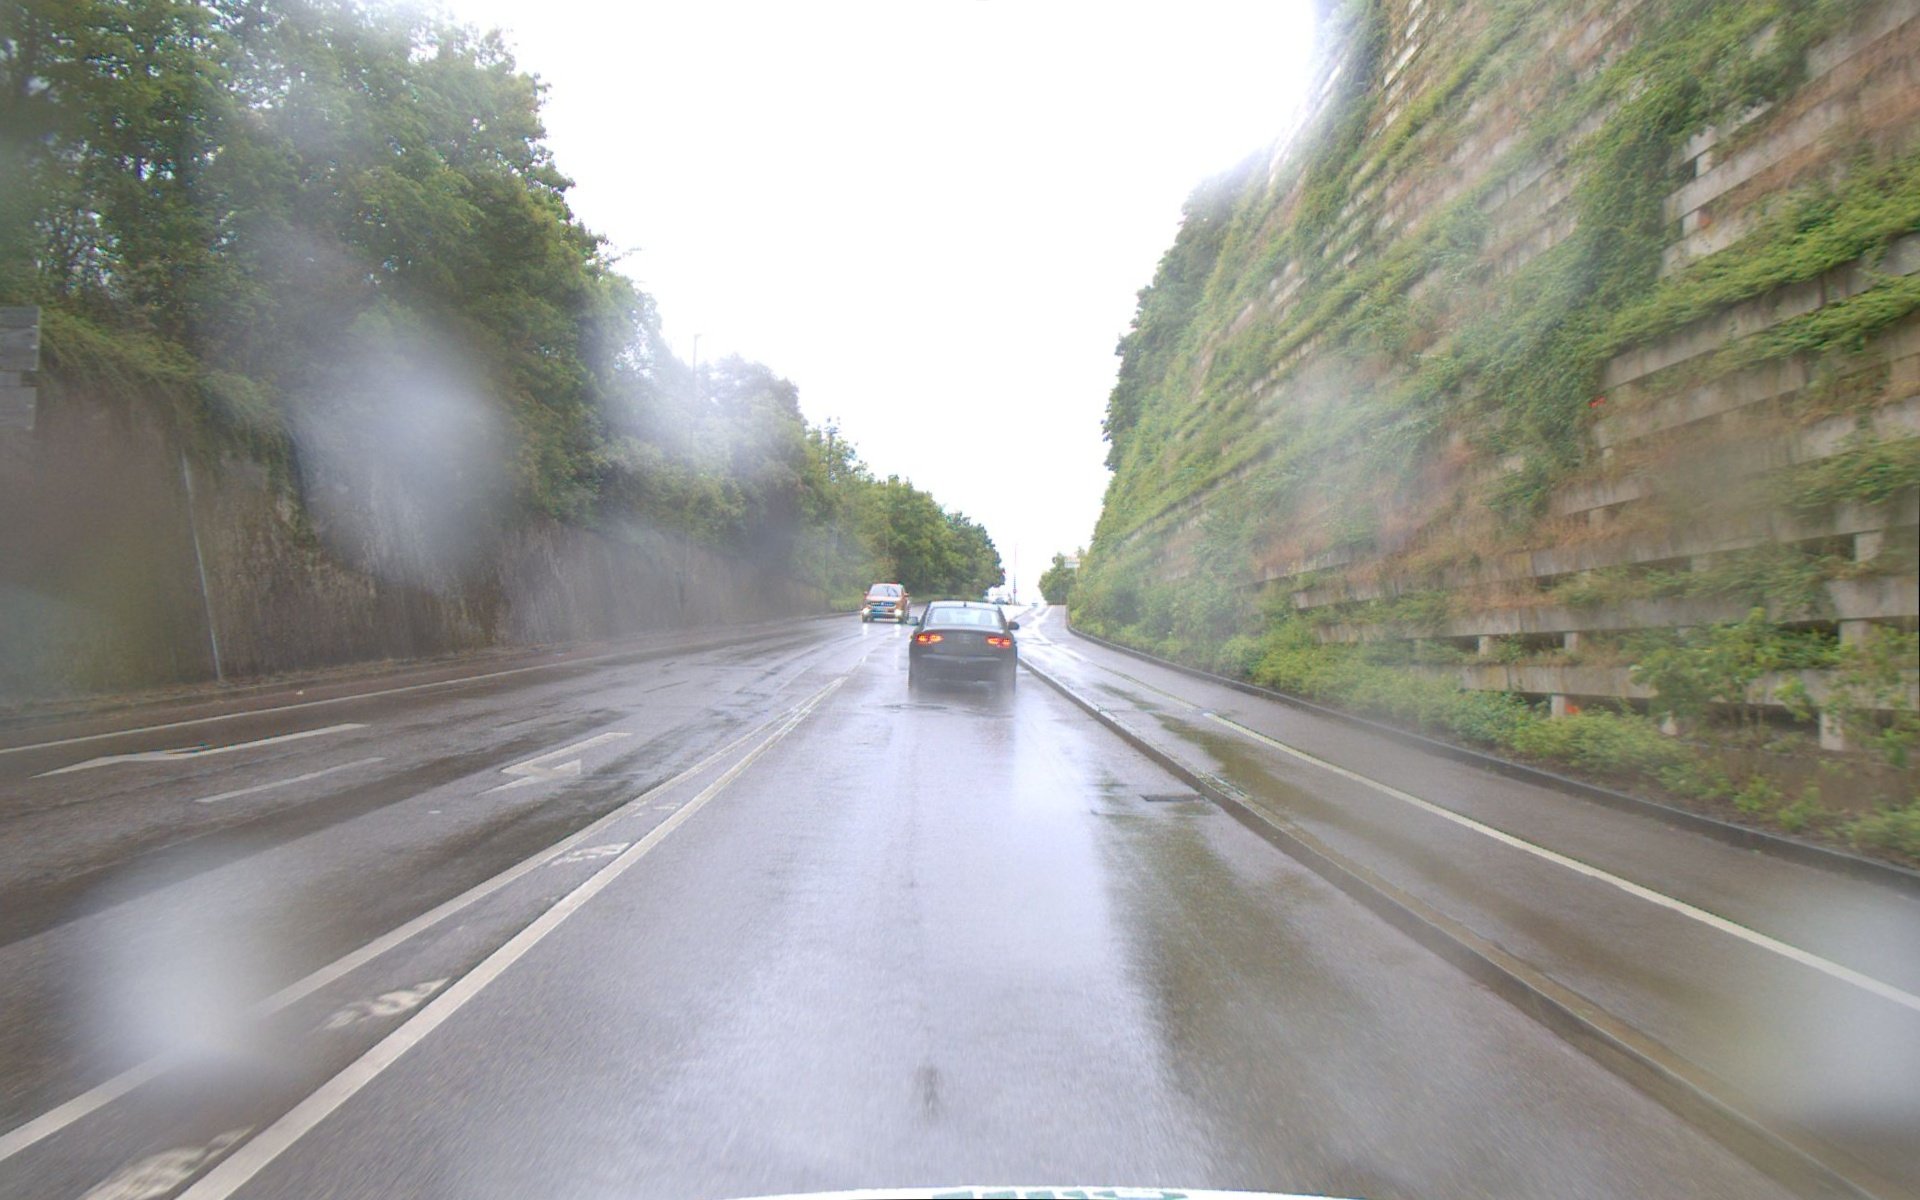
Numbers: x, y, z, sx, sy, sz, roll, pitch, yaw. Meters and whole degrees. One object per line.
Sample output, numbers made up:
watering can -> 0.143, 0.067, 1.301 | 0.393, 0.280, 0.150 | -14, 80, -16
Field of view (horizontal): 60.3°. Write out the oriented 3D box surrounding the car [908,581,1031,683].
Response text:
car -> 0.194, 0.520, 27.585 | 1.853, 1.518, 4.207 | -2, -1, 1

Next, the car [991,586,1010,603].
car -> 4.095, -0.547, 167.969 | 1.826, 1.474, 4.378 | -1, -1, 2

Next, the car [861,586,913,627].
car -> -3.023, 0.270, 68.822 | 1.696, 1.646, 4.002 | 1, 0, 4

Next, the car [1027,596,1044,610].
car -> 9.160, 0.355, 201.118 | 1.784, 1.643, 4.096 | 1, 0, 6
